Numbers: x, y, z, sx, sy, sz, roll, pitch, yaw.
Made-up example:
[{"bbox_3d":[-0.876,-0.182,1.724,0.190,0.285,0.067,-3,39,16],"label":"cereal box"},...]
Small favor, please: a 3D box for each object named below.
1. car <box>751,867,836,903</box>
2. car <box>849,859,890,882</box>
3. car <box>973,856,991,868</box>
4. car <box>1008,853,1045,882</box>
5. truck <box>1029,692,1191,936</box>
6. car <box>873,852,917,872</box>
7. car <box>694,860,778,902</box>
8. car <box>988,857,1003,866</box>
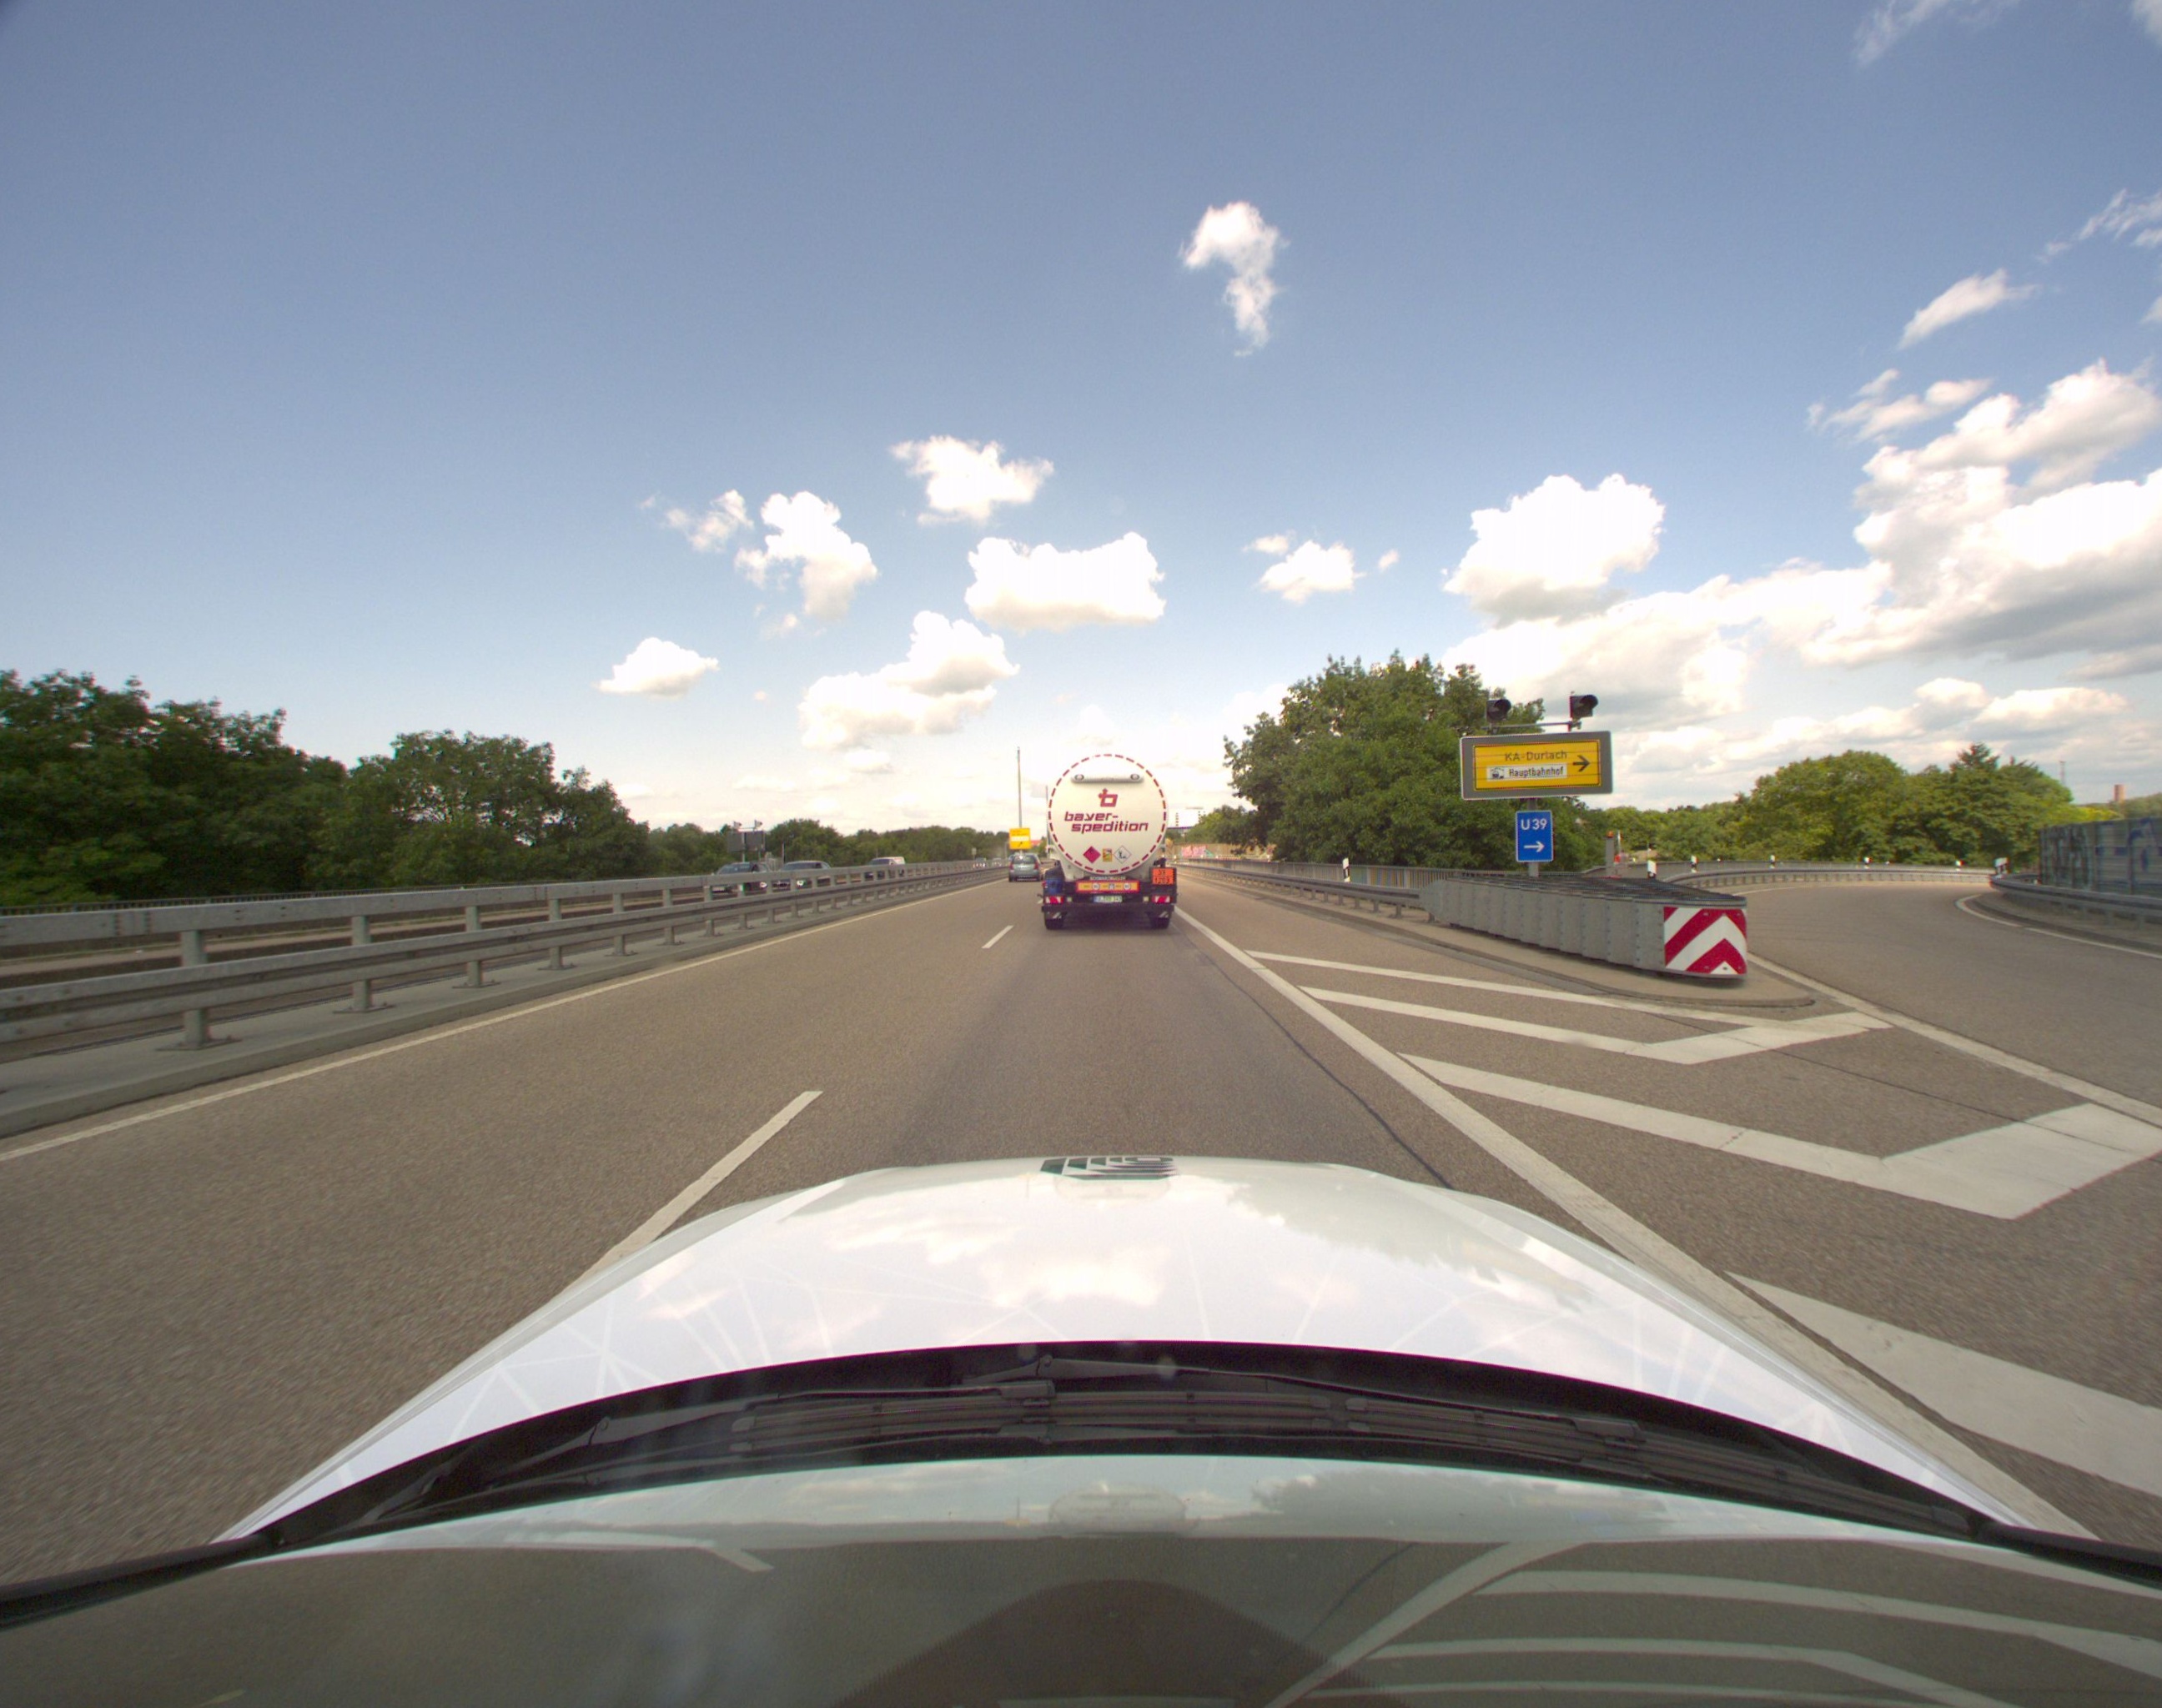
[{"bbox_3d":[-10.566,1.122,30.245,1.675,1.185,4.000,0,0,1],"label":"car"},{"bbox_3d":[-15.427,1.165,59.577,1.885,1.640,4.511,0,0,-1],"label":"car"},{"bbox_3d":[-13.583,1.077,111.542,1.822,1.581,3.956,0,0,2],"label":"car"},{"bbox_3d":[-3.050,0.745,46.047,1.741,1.531,4.000,-1,0,1],"label":"car"},{"bbox_3d":[0.558,-0.713,18.620,2.885,4.369,8.029,0,0,0],"label":"truck"},{"bbox_3d":[-18.073,0.781,79.362,1.979,1.898,5.189,0,0,15],"label":"car"},{"bbox_3d":[-14.627,1.111,34.792,1.815,1.639,4.000,0,0,1],"label":"car"},{"bbox_3d":[-13.527,1.169,128.917,1.896,1.529,4.241,0,0,-1],"label":"car"}]
